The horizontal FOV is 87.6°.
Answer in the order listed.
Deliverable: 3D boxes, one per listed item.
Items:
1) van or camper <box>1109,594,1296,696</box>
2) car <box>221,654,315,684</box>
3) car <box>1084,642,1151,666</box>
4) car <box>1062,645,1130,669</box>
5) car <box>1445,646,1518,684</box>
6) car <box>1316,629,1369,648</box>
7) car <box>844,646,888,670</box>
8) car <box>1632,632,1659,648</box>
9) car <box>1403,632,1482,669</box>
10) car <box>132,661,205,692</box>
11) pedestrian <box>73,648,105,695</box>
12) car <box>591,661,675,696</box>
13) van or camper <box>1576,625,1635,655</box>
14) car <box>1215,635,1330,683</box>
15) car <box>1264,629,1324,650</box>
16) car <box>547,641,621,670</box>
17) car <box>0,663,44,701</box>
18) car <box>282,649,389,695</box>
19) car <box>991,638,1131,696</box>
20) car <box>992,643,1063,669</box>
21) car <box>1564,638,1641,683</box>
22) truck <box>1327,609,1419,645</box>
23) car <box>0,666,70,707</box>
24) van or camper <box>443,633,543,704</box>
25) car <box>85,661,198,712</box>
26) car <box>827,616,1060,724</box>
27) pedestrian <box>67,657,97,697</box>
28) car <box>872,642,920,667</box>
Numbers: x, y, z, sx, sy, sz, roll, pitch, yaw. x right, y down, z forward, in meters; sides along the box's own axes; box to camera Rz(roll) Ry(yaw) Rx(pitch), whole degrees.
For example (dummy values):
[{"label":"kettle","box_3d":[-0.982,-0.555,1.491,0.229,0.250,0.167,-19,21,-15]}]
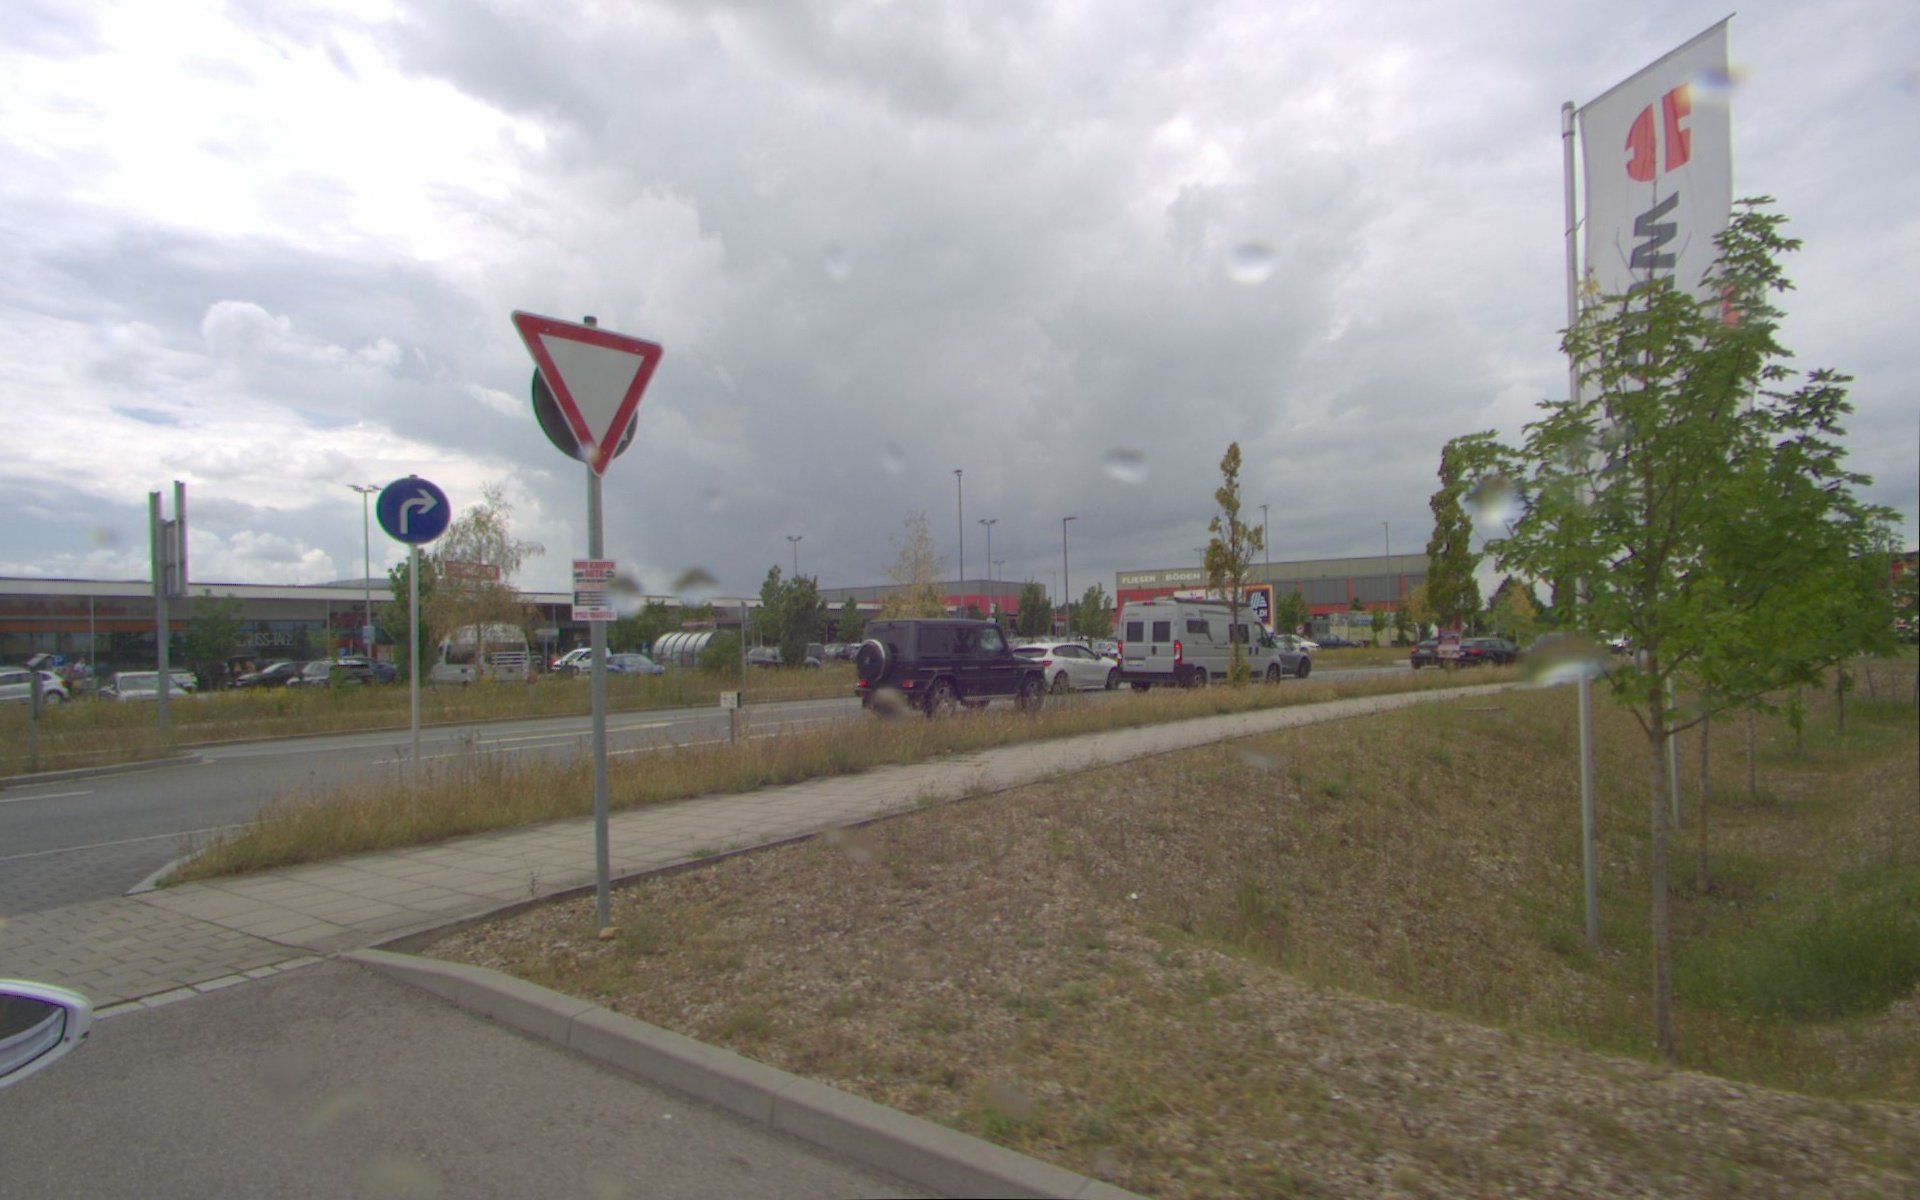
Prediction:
[{"label":"van or camper","box_3d":[6.961,1.261,28.204,6.107,2.573,2.176,2,-3,-44]},{"label":"car","box_3d":[-39.350,3.895,57.026,1.972,1.527,3.979,-2,-2,33]},{"label":"car","box_3d":[10.032,3.434,63.942,3.776,1.408,1.897,-3,-2,44]},{"label":"car","box_3d":[8.394,3.515,62.003,3.776,1.408,1.897,-3,-2,44]},{"label":"car","box_3d":[21.430,2.654,41.118,3.305,1.403,1.483,1,-3,-41]},{"label":"car","box_3d":[31.756,3.175,83.143,3.789,1.446,1.733,-3,-2,33]},{"label":"car","box_3d":[-7.198,4.434,76.656,1.734,1.675,3.826,-2,-2,23]},{"label":"car","box_3d":[64.796,3.770,94.636,1.754,1.402,4.118,-3,-2,40]},{"label":"car","box_3d":[22.137,2.302,45.889,4.294,1.588,1.891,1,-3,-44]},{"label":"car","box_3d":[-43.065,4.153,54.474,3.946,1.527,1.989,-3,-2,34]},{"label":"pedestrian","box_3d":[-38.772,3.179,44.574,0.991,2.039,0.862,-2,-2,36]},{"label":"car","box_3d":[-14.292,3.404,43.687,4.110,1.401,1.794,-5,-4,45]},{"label":"van or camper","box_3d":[45.423,2.806,70.394,5.144,1.936,1.985,0,-2,-39]},{"label":"car","box_3d":[11.527,2.127,36.760,4.833,1.527,1.795,0,-2,-42]},{"label":"car","box_3d":[26.127,3.087,78.294,3.961,1.460,1.982,-4,-4,44]},{"label":"car","box_3d":[-24.971,3.666,66.639,1.970,1.841,4.411,-3,-3,29]},{"label":"car","box_3d":[-39.848,3.360,40.589,1.644,1.472,3.741,-2,-2,31]},{"label":"car","box_3d":[-21.806,2.498,34.912,4.102,1.469,1.980,-4,-3,40]},{"label":"car","box_3d":[3.005,1.913,29.188,1.783,1.468,4.208,-3,-2,45]},{"label":"car","box_3d":[3.913,3.236,58.197,3.776,1.408,1.897,-3,-2,44]},{"label":"car","box_3d":[26.050,2.437,40.565,3.467,1.697,1.672,1,-3,-41]},{"label":"truck","box_3d":[37.186,2.449,90.117,8.046,2.983,2.674,-1,-2,-21]},{"label":"car","box_3d":[-37.312,3.378,38.933,1.644,1.472,3.741,-2,-2,31]},{"label":"van or camper","box_3d":[-17.803,2.567,38.117,2.269,2.524,3.961,1,-3,-45]},{"label":"car","box_3d":[-25.363,2.654,30.983,4.102,1.401,1.980,-4,-3,40]},{"label":"car","box_3d":[-0.219,1.373,20.555,1.980,1.947,4.805,-3,-3,44]},{"label":"pedestrian","box_3d":[-37.923,3.321,43.265,0.888,1.652,0.819,-3,-3,37]},{"label":"car","box_3d":[-4.778,4.081,75.106,1.967,1.756,3.989,-2,-2,23]}]
